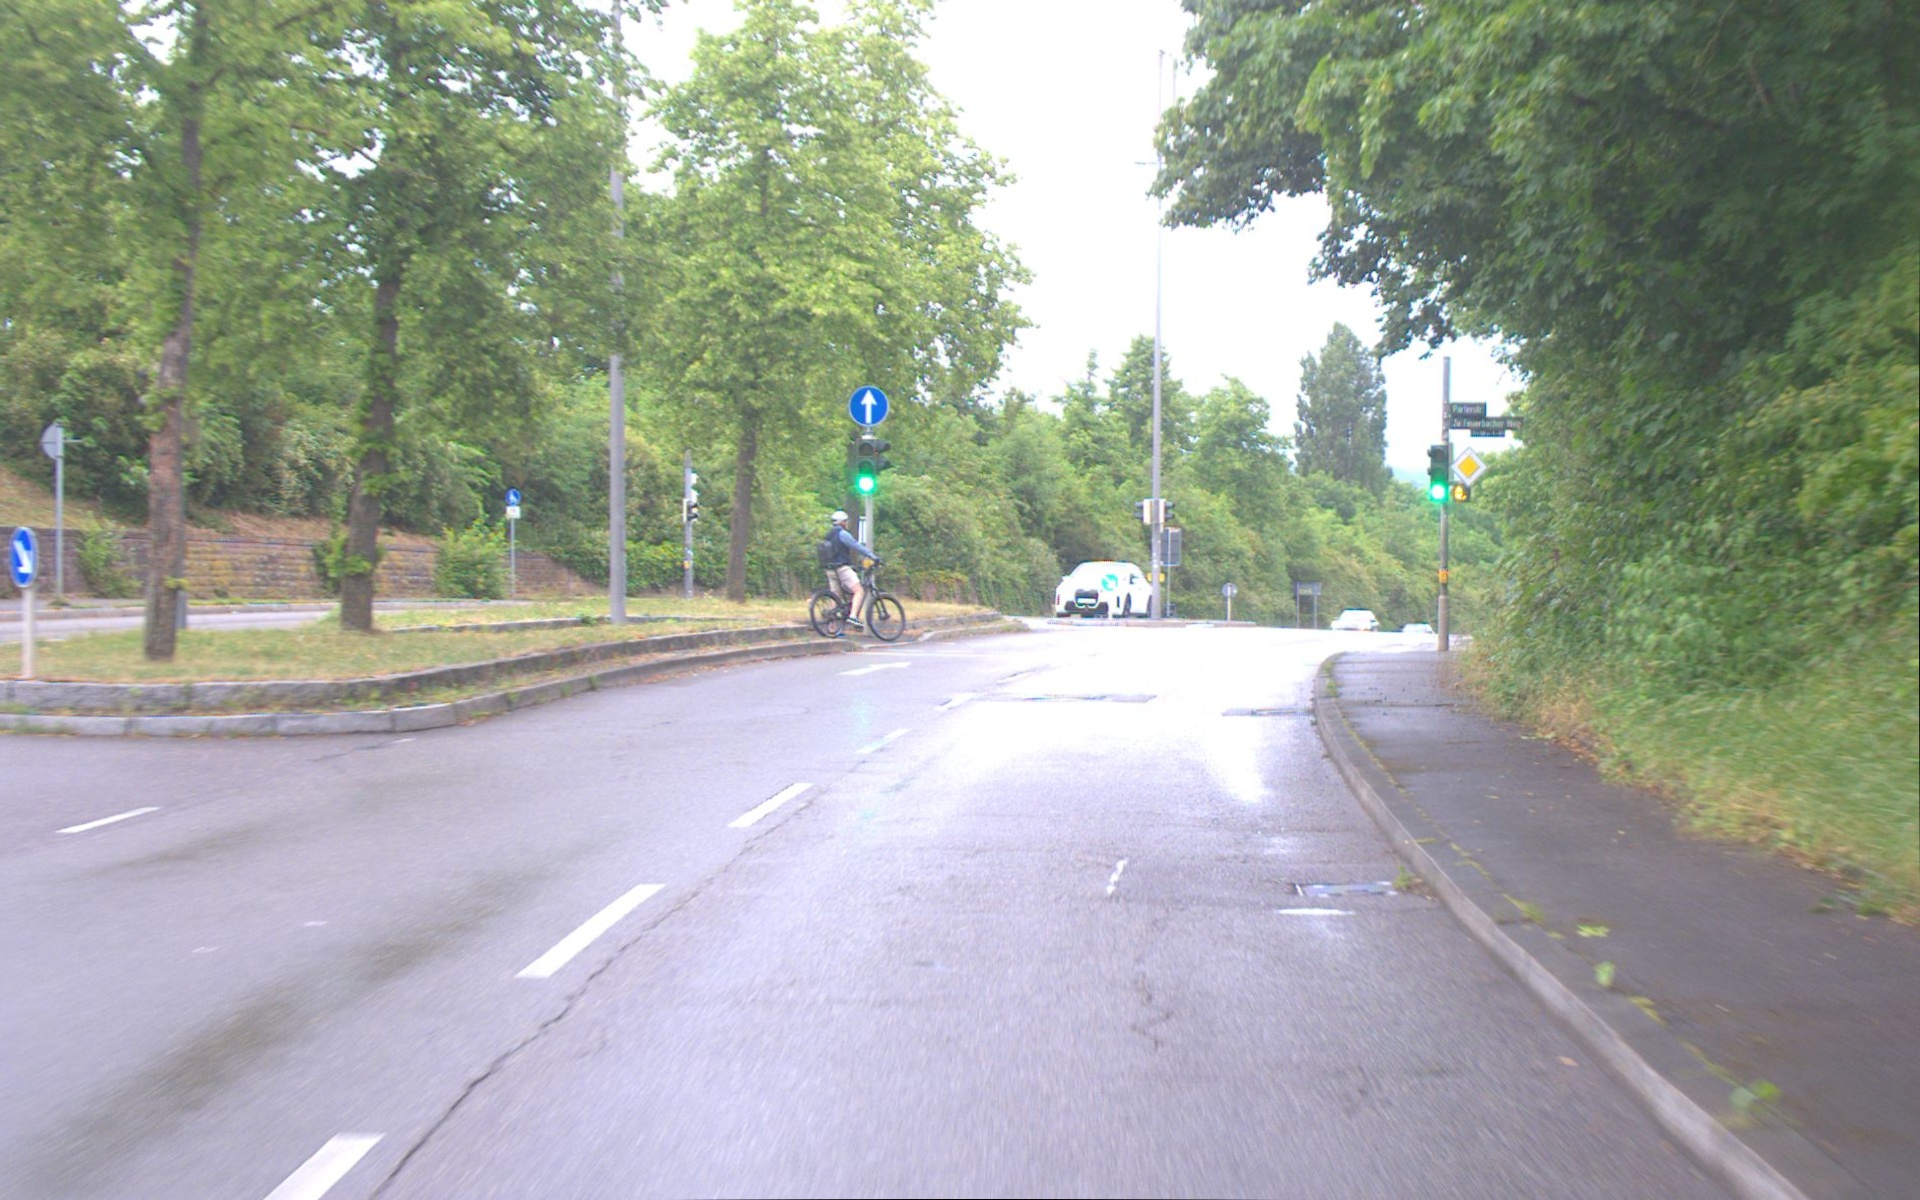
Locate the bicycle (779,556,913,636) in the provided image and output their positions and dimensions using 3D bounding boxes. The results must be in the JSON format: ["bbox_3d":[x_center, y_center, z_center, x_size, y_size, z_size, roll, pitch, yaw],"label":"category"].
[{"bbox_3d":[-1.653,-0.054,50.203,0.553,1.139,2.134,2,1,44],"label":"bicycle"}]

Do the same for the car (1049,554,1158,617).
[{"bbox_3d":[4.045,-0.392,96.218,1.946,1.630,5.001,1,0,15],"label":"car"}]

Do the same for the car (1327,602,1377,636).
[{"bbox_3d":[18.086,0.877,158.564,1.779,1.467,4.642,2,-1,13],"label":"car"}]

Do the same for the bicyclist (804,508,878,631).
[{"bbox_3d":[-1.735,-0.433,50.100,0.724,1.746,0.799,-2,-3,44],"label":"bicyclist"}]
